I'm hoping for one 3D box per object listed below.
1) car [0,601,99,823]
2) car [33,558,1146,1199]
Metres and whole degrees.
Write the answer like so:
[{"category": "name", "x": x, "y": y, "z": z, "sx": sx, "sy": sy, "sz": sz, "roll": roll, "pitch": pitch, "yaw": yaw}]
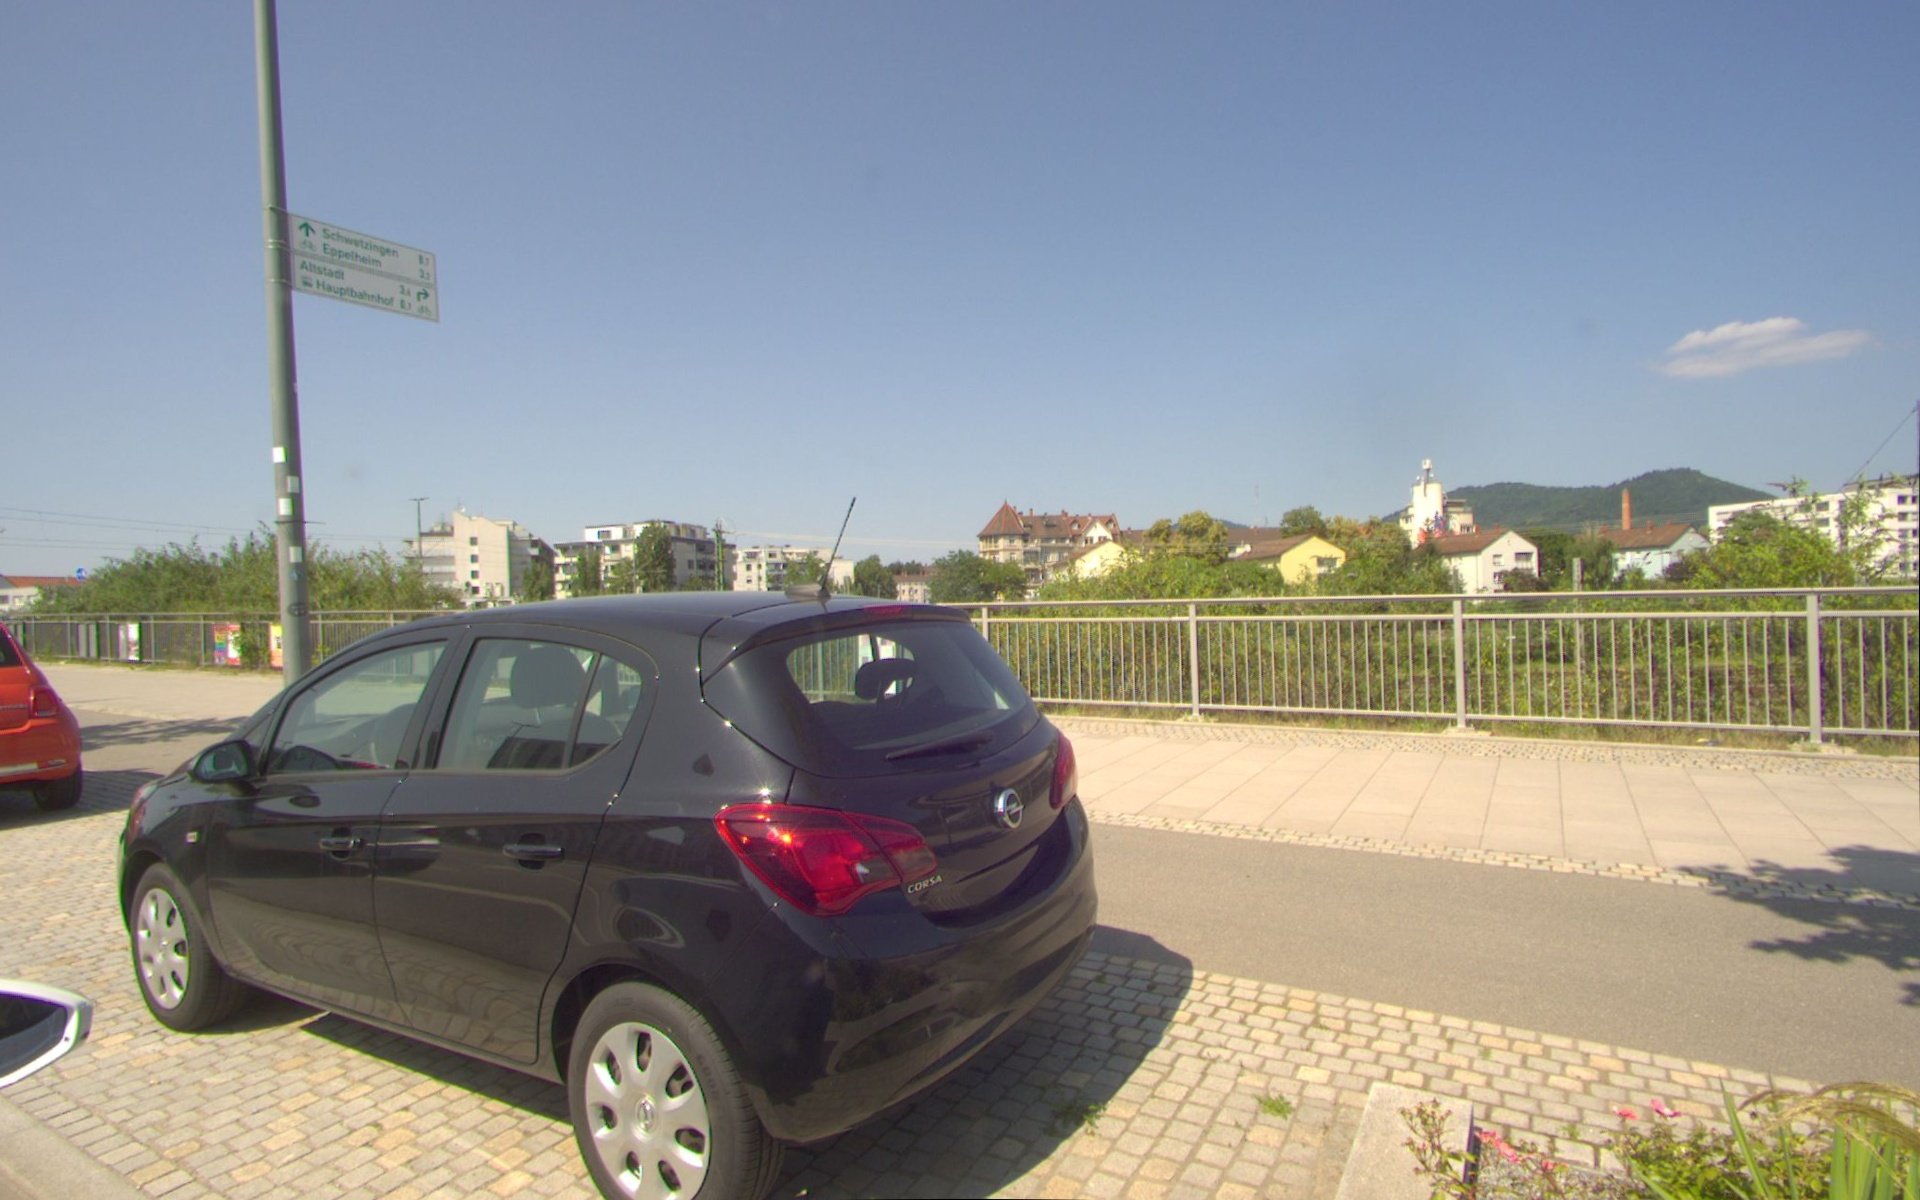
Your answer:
[{"category": "car", "x": -8.157, "y": 0.804, "z": 7.584, "sx": 3.305, "sy": 1.517, "sz": 1.605, "roll": -1, "pitch": 2, "yaw": 34}, {"category": "car", "x": -1.506, "y": 0.677, "z": 3.595, "sx": 3.942, "sy": 1.445, "sz": 1.657, "roll": -1, "pitch": 0, "yaw": 32}]
